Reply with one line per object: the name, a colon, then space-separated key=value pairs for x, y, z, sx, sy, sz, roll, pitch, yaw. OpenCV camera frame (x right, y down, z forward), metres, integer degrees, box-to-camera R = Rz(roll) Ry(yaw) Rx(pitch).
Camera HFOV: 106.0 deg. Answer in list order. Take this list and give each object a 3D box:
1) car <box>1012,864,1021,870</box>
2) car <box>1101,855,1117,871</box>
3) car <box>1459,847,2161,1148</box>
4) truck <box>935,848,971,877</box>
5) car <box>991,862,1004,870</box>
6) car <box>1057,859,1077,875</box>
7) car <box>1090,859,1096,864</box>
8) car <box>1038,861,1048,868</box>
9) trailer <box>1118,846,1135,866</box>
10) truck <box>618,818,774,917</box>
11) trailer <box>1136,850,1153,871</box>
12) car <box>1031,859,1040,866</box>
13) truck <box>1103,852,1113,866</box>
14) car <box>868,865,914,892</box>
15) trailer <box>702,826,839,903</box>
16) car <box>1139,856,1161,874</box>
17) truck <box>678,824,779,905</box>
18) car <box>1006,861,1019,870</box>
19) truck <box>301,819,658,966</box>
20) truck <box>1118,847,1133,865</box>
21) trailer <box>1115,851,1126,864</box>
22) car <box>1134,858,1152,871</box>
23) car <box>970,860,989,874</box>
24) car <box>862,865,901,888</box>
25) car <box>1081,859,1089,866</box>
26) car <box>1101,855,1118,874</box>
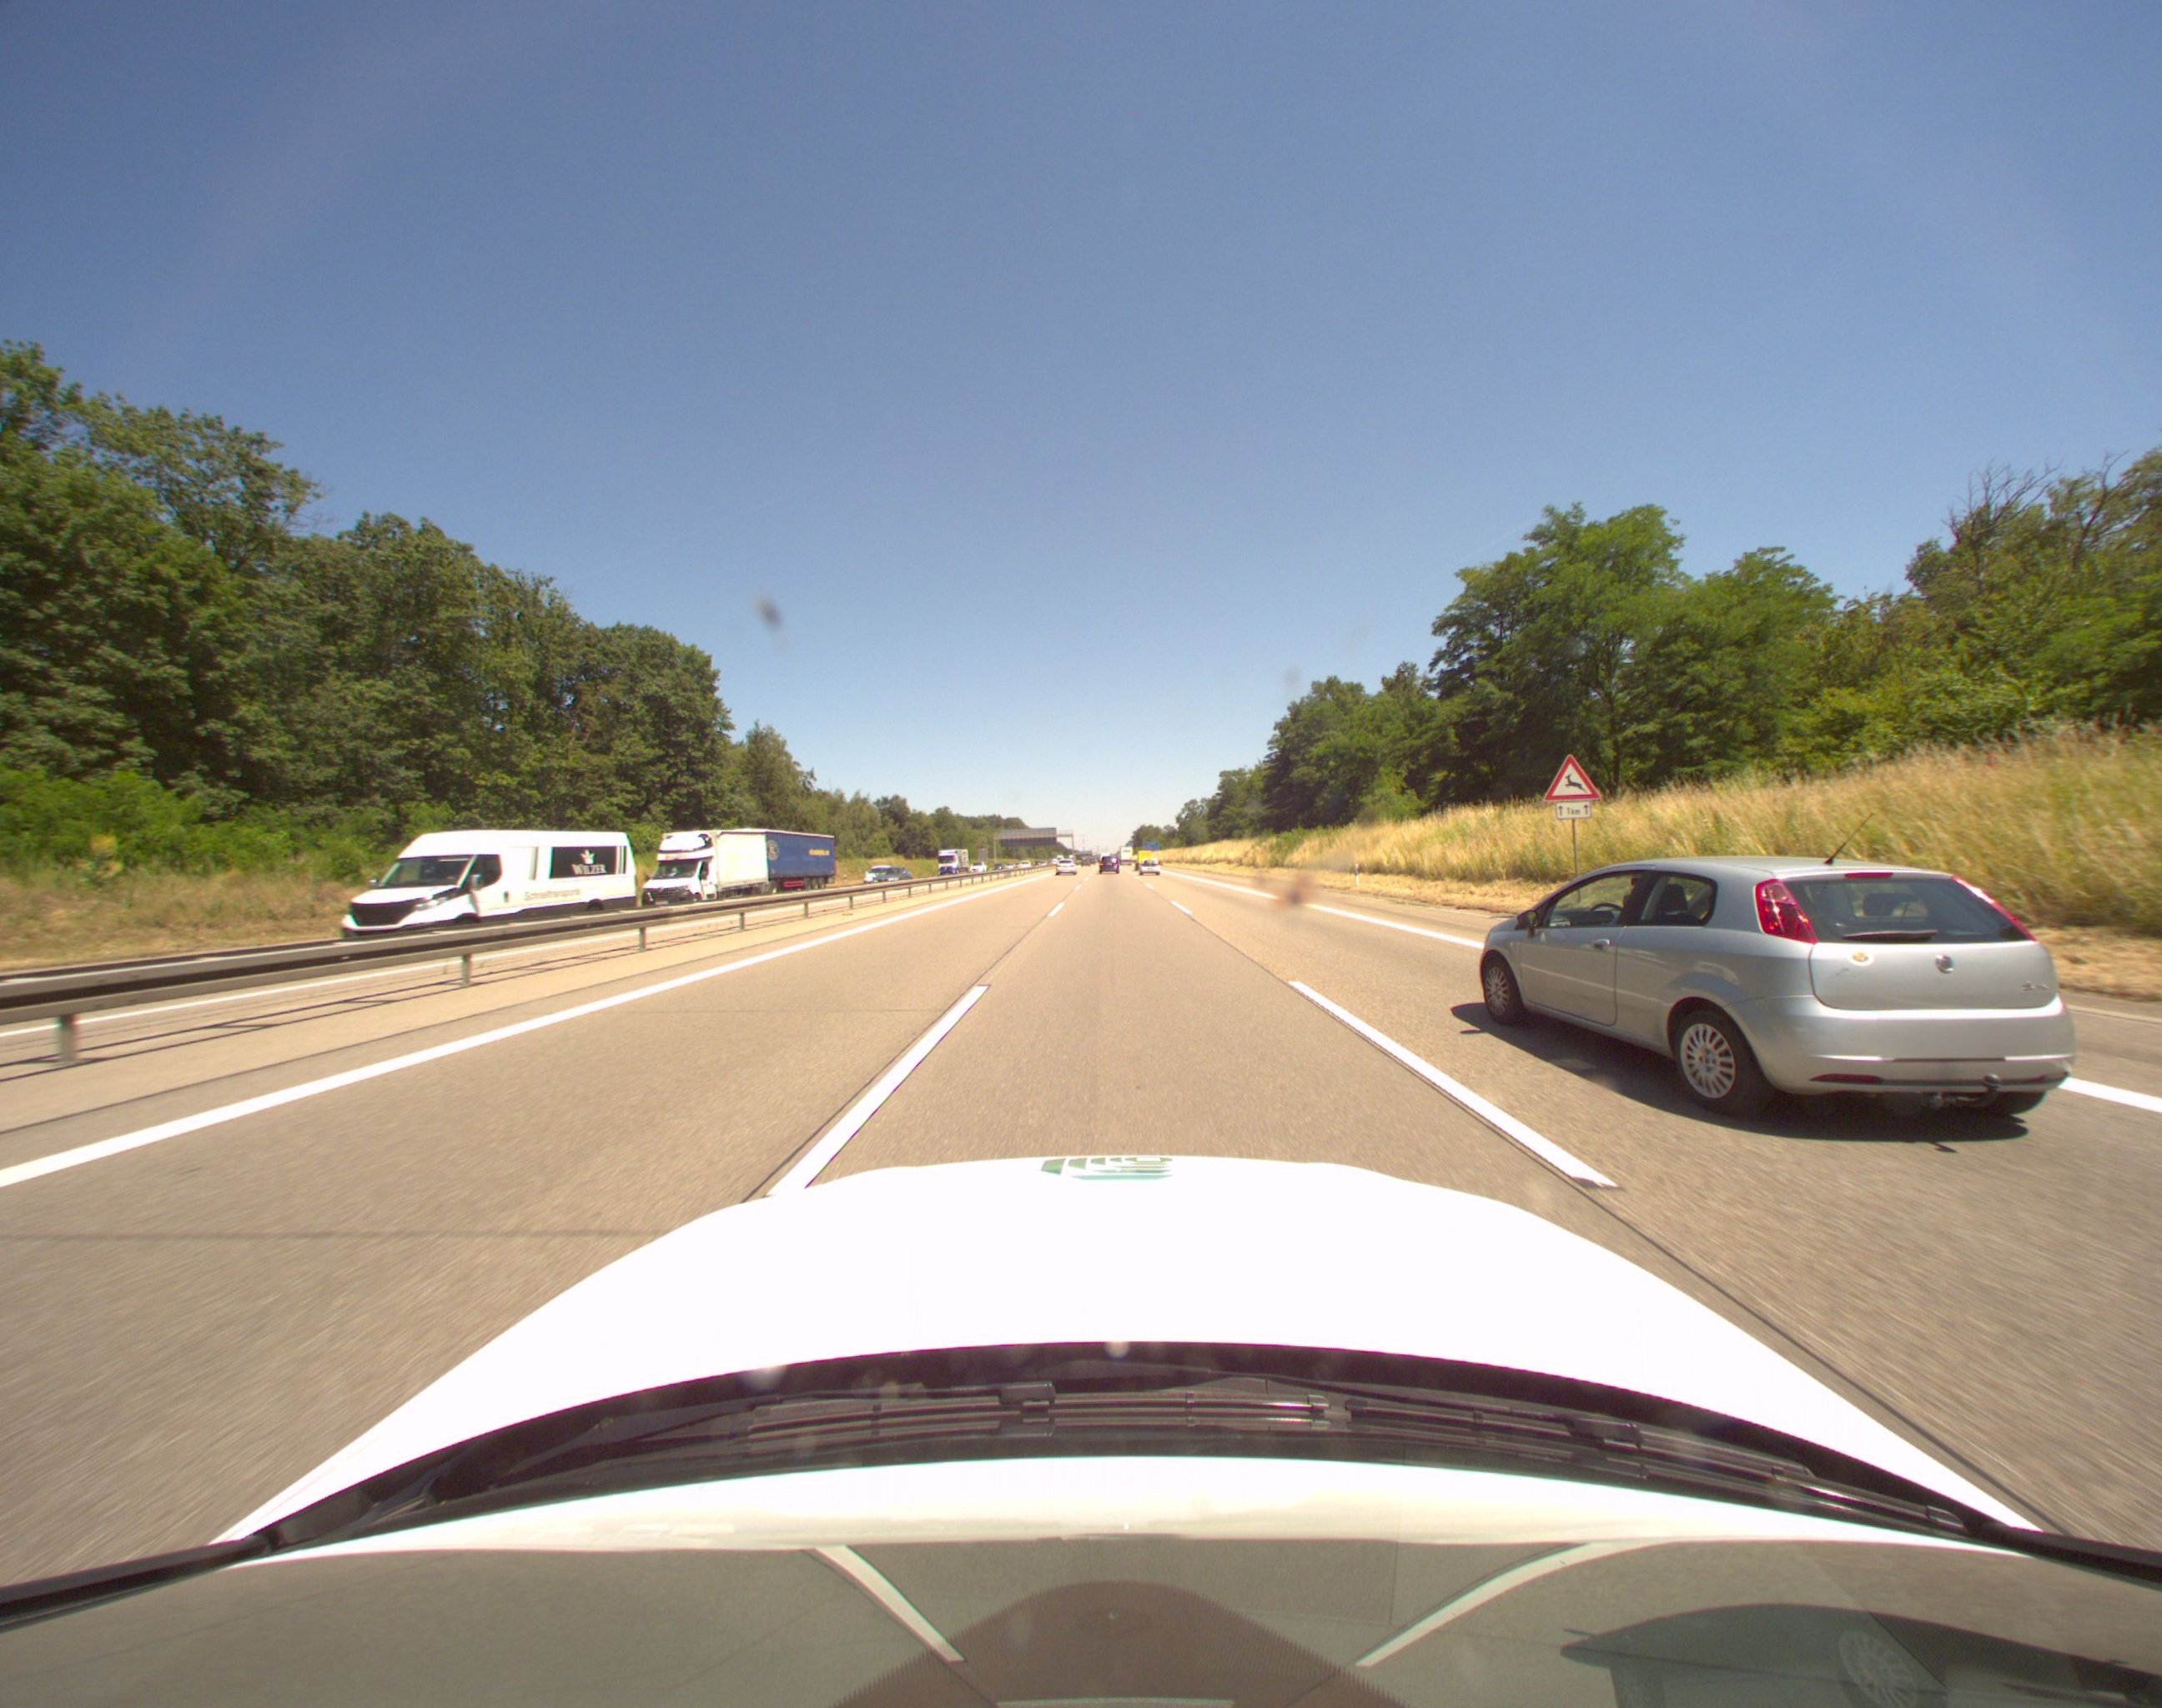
car: x=-15.585 y=3.113 z=196.143 sx=1.665 sy=1.410 sz=4.598 roll=-4 pitch=0 yaw=1
car: x=3.223 y=1.056 z=94.956 sx=1.808 sy=1.827 sz=5.112 roll=-2 pitch=-1 yaw=1
car: x=4.502 y=0.721 z=5.981 sx=1.738 sy=1.466 sz=3.982 roll=-1 pitch=0 yaw=2
truck: x=-17.283 y=1.123 z=110.842 sx=2.722 sy=3.518 sz=10.444 roll=-4 pitch=0 yaw=1
car: x=-16.233 y=2.245 z=158.536 sx=1.648 sy=1.411 sz=5.178 roll=-4 pitch=0 yaw=2
car: x=-1.256 y=1.185 z=75.484 sx=1.663 sy=1.401 sz=3.713 roll=-2 pitch=0 yaw=0
car: x=3.078 y=1.927 z=210.776 sx=1.400 sy=1.131 sz=3.359 roll=-1 pitch=-1 yaw=2
car: x=-8.397 y=2.302 z=178.897 sx=1.755 sy=1.459 sz=5.121 roll=-4 pitch=0 yaw=1
trailer: x=9.925 y=0.449 z=179.727 sx=3.274 sy=4.219 sz=13.568 roll=0 pitch=-1 yaw=1
truck: x=-16.307 y=0.538 z=35.328 sx=2.447 sy=3.606 sz=8.123 roll=-4 pitch=0 yaw=2
trailer: x=7.344 y=0.766 z=93.800 sx=1.697 sy=2.290 sz=3.840 roll=-1 pitch=-1 yaw=1
car: x=-11.365 y=2.218 z=203.498 sx=1.788 sy=1.618 sz=4.987 roll=-4 pitch=0 yaw=1
truck: x=5.928 y=1.097 z=180.748 sx=2.053 sy=2.914 sz=7.005 roll=-2 pitch=-1 yaw=1
car: x=-11.466 y=1.452 z=49.421 sx=1.598 sy=1.399 sz=4.545 roll=-4 pitch=0 yaw=1
trailer: x=-19.221 y=0.616 z=51.924 sx=2.496 sy=4.014 sz=14.373 roll=-4 pitch=0 yaw=2
car: x=5.983 y=0.930 z=70.606 sx=1.702 sy=1.495 sz=4.025 roll=-1 pitch=-1 yaw=2
truck: x=-19.450 y=0.574 z=45.401 sx=2.496 sy=4.014 sz=6.127 roll=-4 pitch=-1 yaw=2
car: x=-12.536 y=2.143 z=148.926 sx=1.755 sy=1.407 sz=4.353 roll=-4 pitch=0 yaw=1
truck: x=-13.431 y=0.752 z=19.362 sx=2.075 sy=2.623 sz=8.035 roll=-4 pitch=0 yaw=2
truck: x=10.059 y=0.495 z=185.642 sx=3.274 sy=4.219 sz=6.009 roll=0 pitch=-1 yaw=1
trailer: x=11.326 y=1.058 z=233.285 sx=2.673 sy=3.837 sz=12.013 roll=0 pitch=-1 yaw=1
car: x=7.432 y=1.228 z=98.118 sx=1.815 sy=1.456 sz=4.788 roll=-1 pitch=-1 yaw=1
car: x=-13.471 y=1.741 z=108.225 sx=1.721 sy=1.646 sz=5.089 roll=-4 pitch=0 yaw=1
car: x=-15.020 y=1.659 z=61.534 sx=1.598 sy=1.559 sz=4.470 roll=-4 pitch=0 yaw=2
car: x=0.815 y=1.718 z=161.018 sx=1.601 sy=1.300 sz=3.675 roll=-1 pitch=-1 yaw=2
car: x=2.768 y=1.040 z=79.028 sx=1.620 sy=1.755 sz=3.806 roll=-1 pitch=-1 yaw=2
